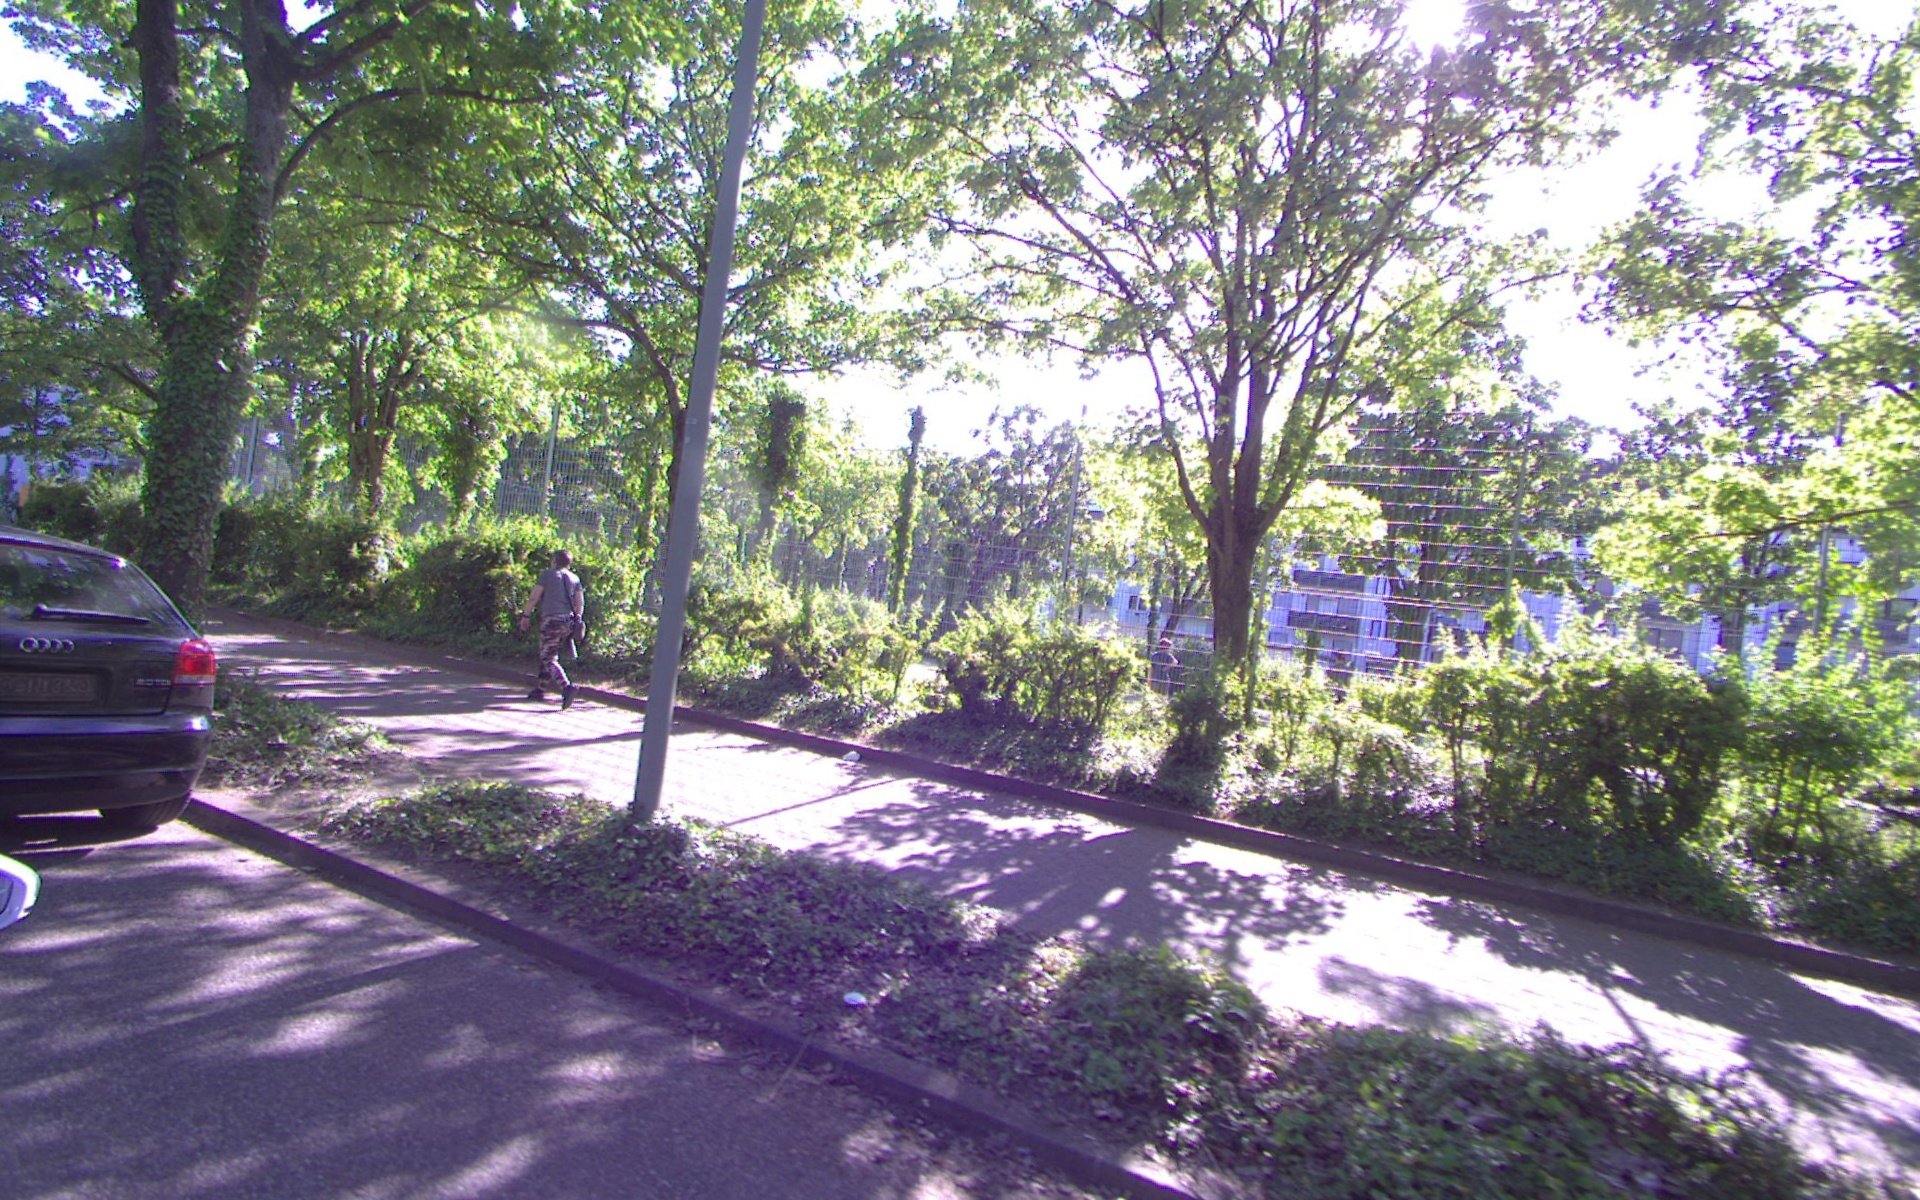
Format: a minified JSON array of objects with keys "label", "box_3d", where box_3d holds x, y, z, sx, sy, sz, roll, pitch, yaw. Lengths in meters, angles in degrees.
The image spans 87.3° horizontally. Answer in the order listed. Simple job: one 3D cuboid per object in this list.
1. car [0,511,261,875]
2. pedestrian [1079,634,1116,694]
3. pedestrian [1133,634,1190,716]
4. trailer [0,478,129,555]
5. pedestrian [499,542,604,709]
[{"label":"car","box_3d":[-5.533,0.176,4.916,3.929,1.436,1.645,7,-2,26]},{"label":"pedestrian","box_3d":[3.514,1.632,25.737,0.623,1.436,0.504,9,-2,-17]},{"label":"pedestrian","box_3d":[3.335,1.241,16.661,0.555,1.253,0.542,9,-2,-22]},{"label":"trailer","box_3d":[-31.526,-2.906,35.432,1.582,2.141,2.951,7,-1,27]},{"label":"pedestrian","box_3d":[-4.237,0.268,10.446,0.661,1.627,0.571,7,-1,38]}]
